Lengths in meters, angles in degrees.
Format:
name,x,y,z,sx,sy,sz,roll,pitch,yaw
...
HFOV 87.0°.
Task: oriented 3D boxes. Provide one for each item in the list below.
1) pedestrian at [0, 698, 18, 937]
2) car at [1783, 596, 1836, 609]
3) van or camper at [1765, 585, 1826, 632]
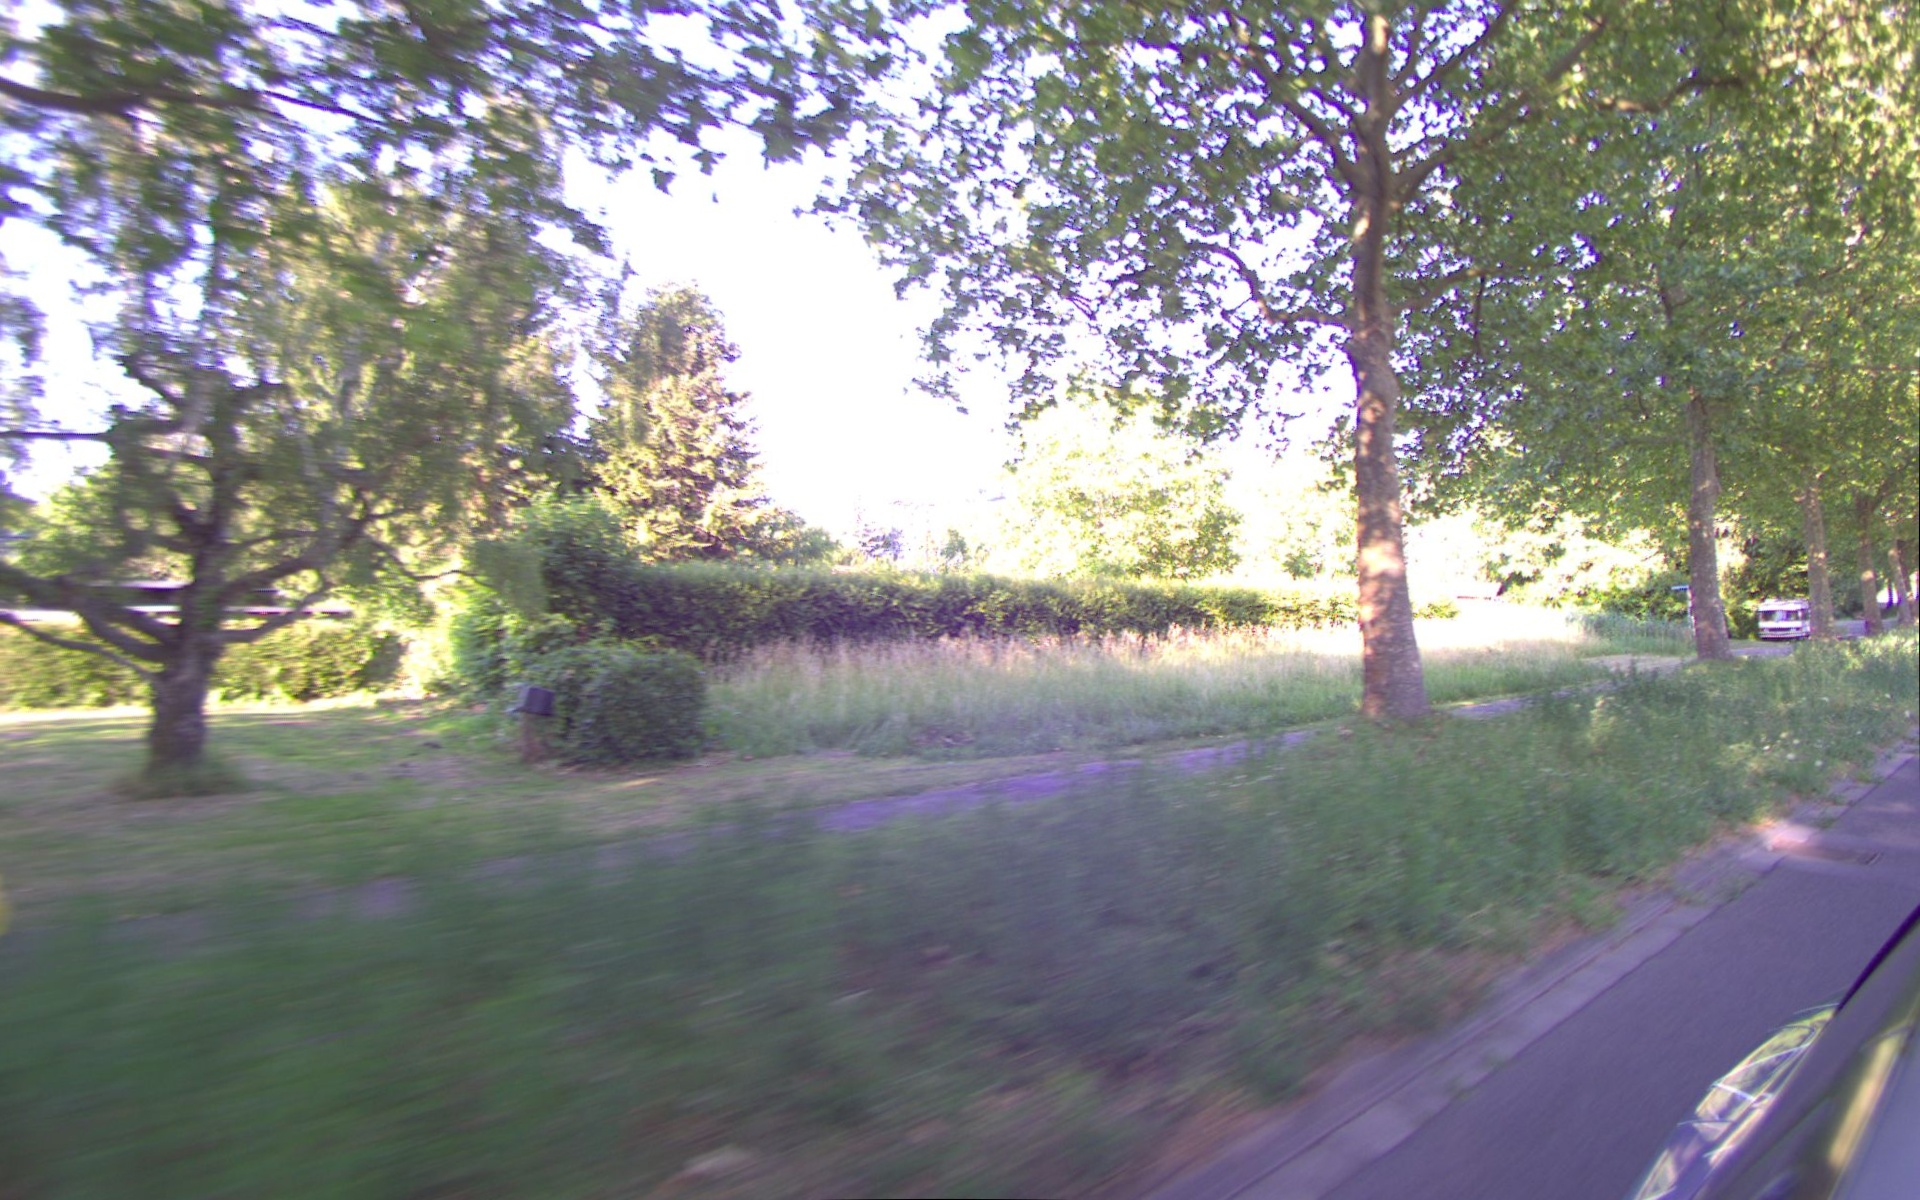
name,x,y,z,sx,sy,sz,roll,pitch,yaw
pedestrian,-7.102,1.492,6.610,0.837,1.596,1.195,0,0,28
car,90.326,0.268,107.607,1.963,1.404,3.997,-1,1,-37
van or camper,53.367,0.510,64.584,5.592,2.835,2.382,-1,0,-44
